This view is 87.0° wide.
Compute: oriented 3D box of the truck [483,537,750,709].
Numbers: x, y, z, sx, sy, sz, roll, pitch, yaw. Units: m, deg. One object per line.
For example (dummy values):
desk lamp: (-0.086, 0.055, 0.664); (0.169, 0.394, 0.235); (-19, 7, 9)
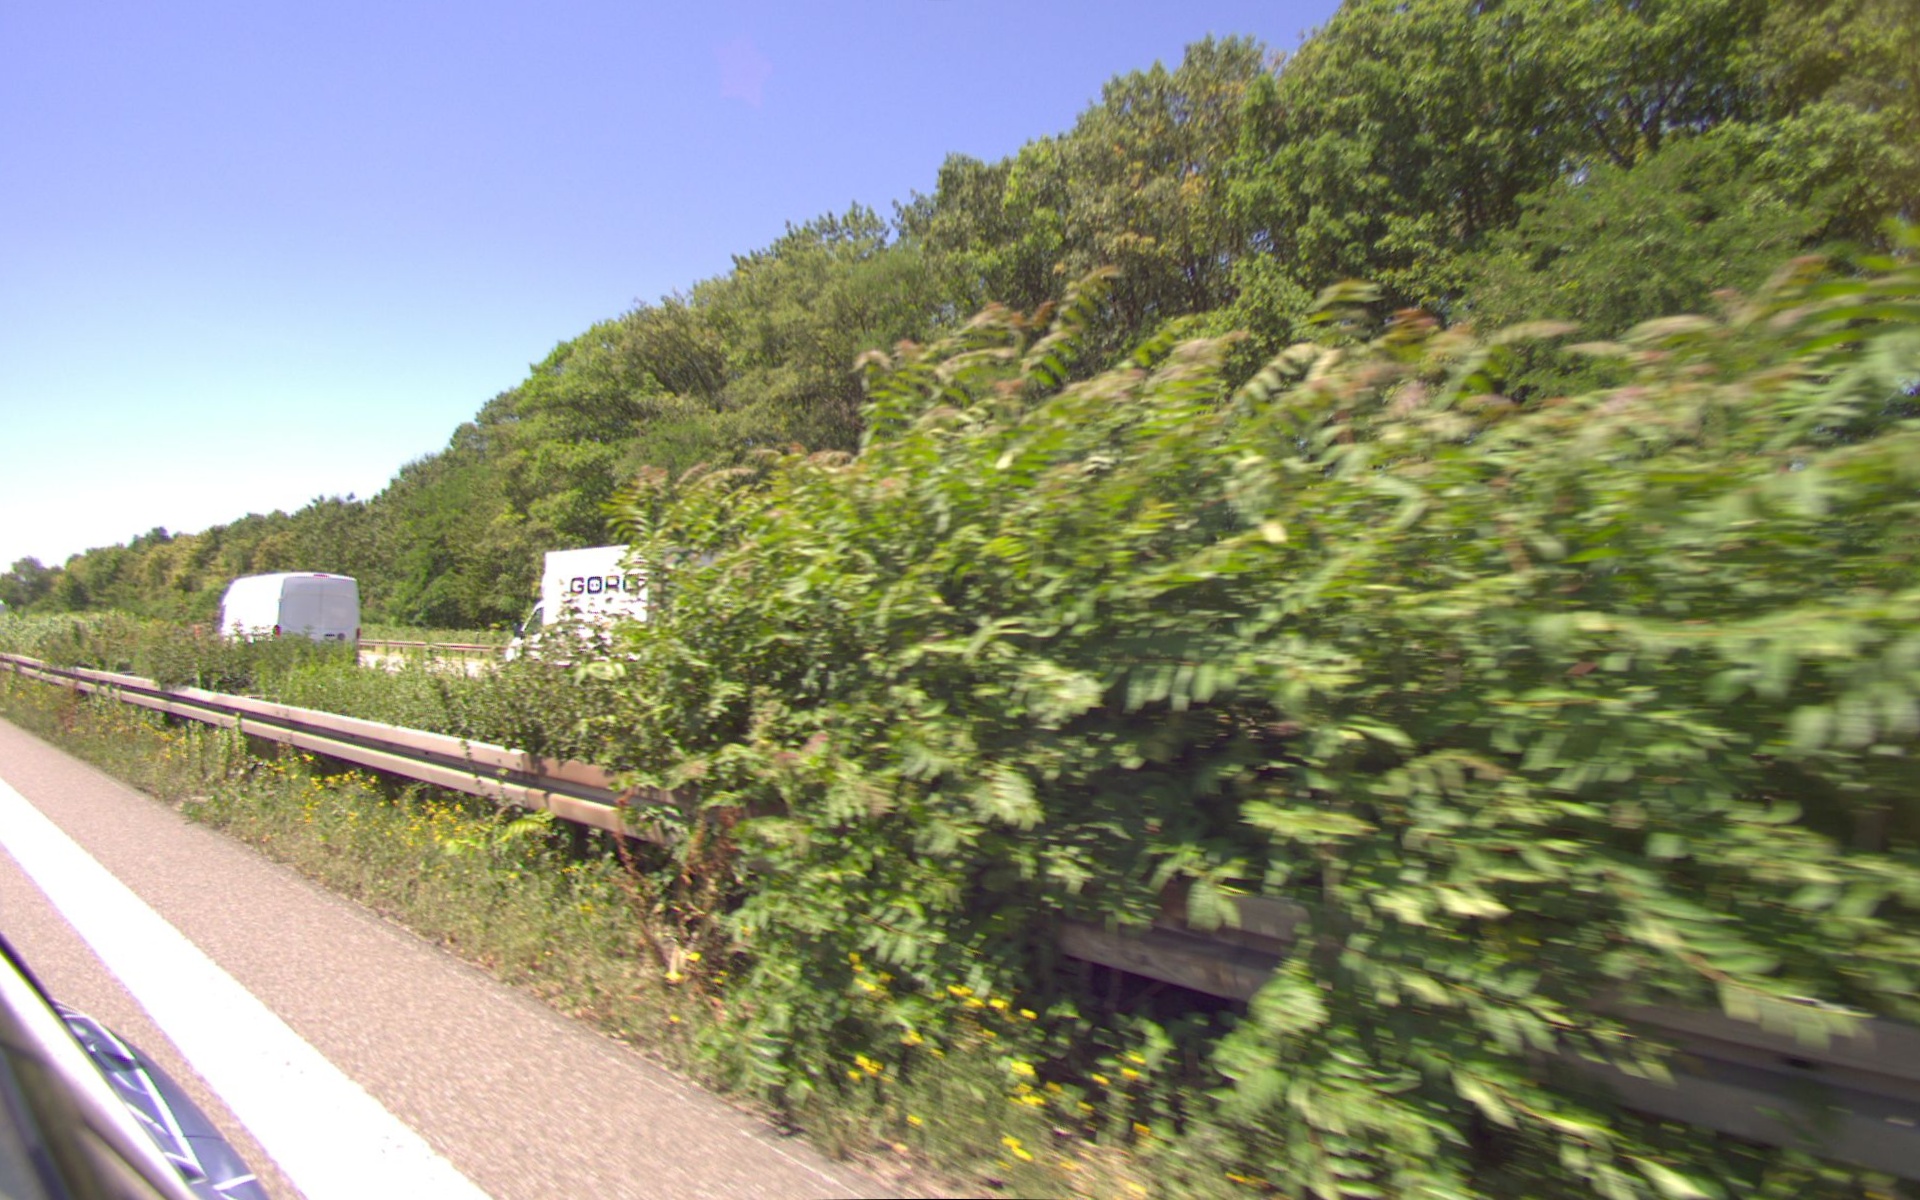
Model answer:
truck: (-7.987, 0.552, 23.062); (6.994, 3.379, 2.385); (-1, -4, 40)

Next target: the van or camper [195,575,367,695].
van or camper: (-18.475, 0.902, 27.335); (6.994, 2.868, 1.973); (-1, -2, 40)

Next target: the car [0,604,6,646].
car: (-66.988, 1.728, 69.276); (4.594, 2.847, 1.973); (-1, -1, 41)

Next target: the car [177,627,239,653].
car: (-43.721, 2.324, 58.826); (4.564, 1.414, 1.913); (-1, -1, 40)
